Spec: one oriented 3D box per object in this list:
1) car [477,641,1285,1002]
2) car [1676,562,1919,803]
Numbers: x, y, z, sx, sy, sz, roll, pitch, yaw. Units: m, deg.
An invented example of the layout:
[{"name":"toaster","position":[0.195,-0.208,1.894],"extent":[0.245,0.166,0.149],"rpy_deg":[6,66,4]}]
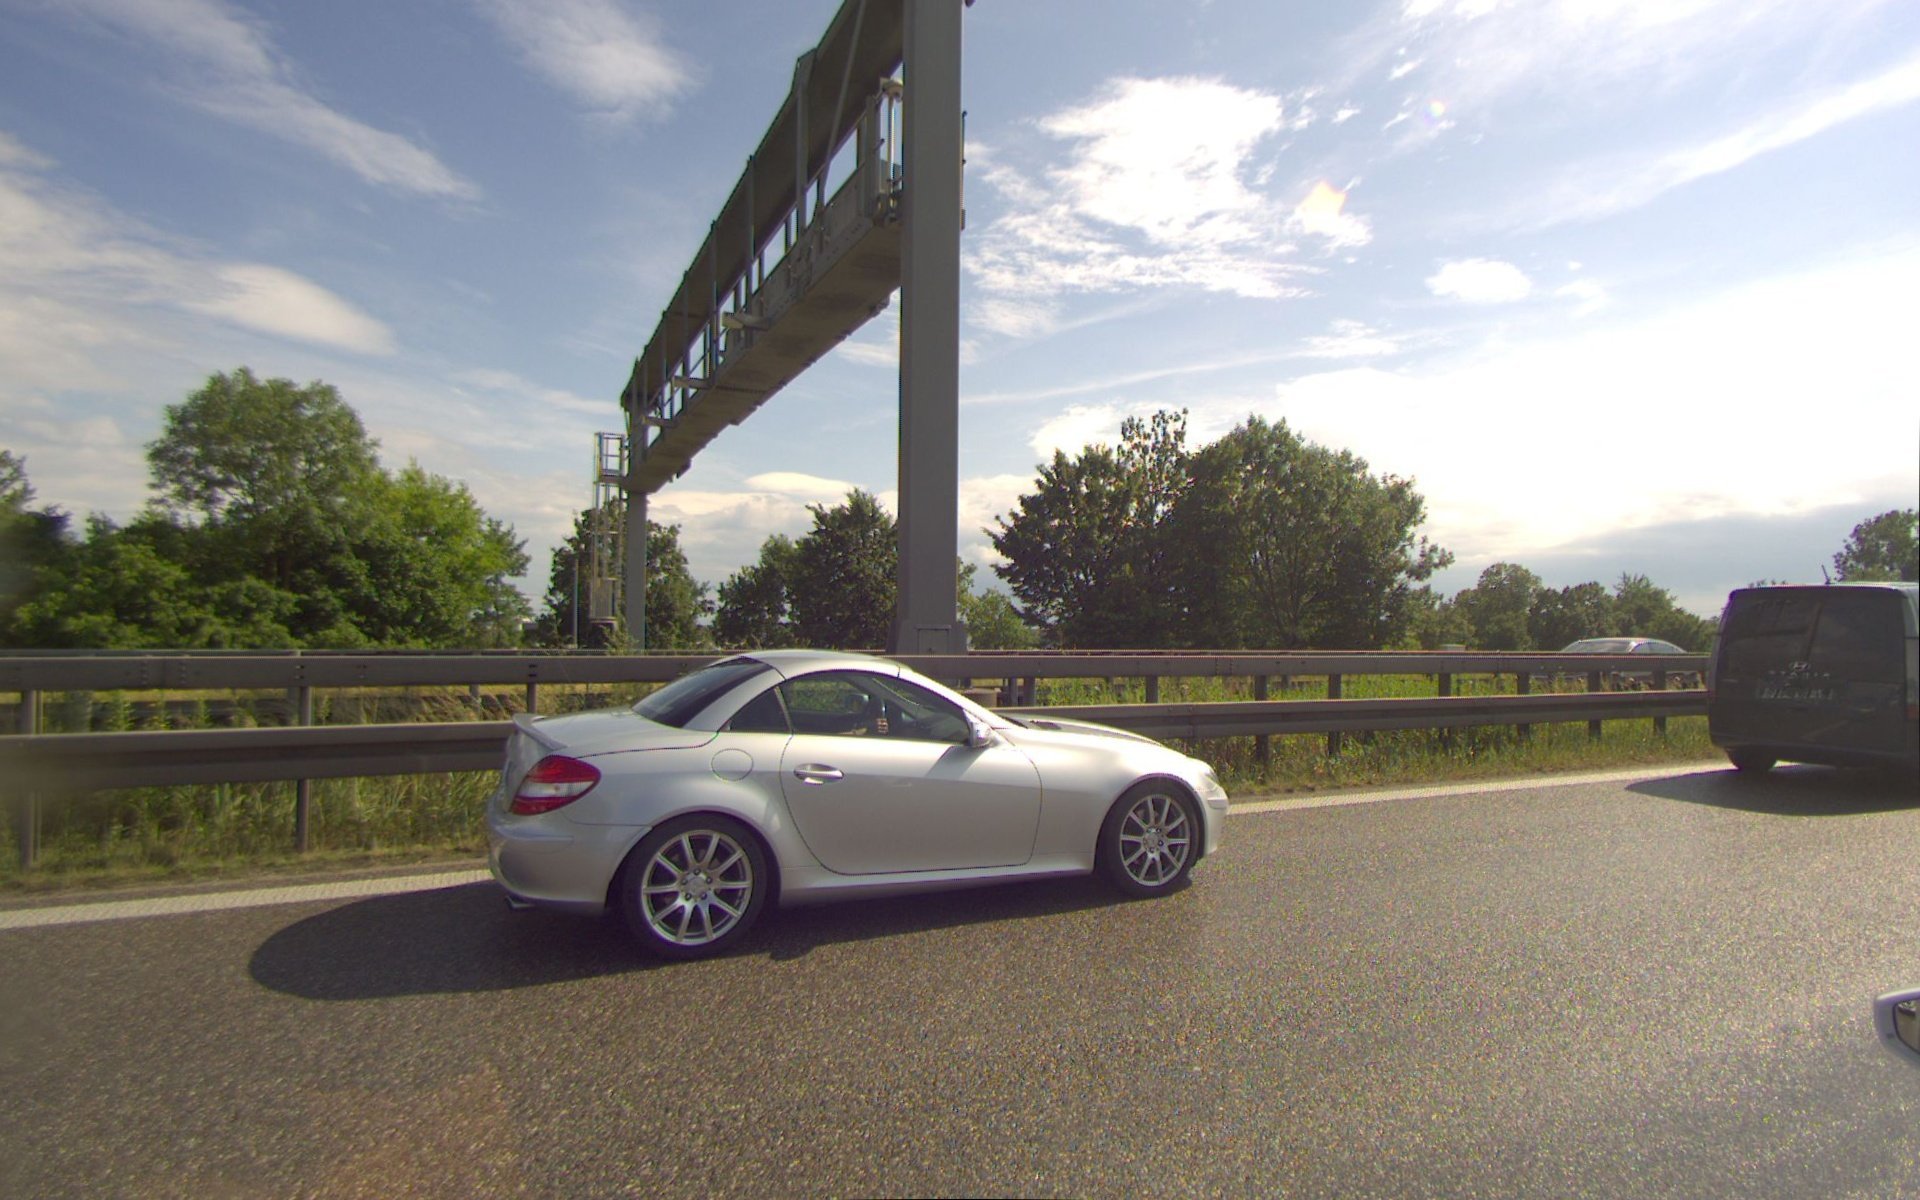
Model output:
[{"name":"car","position":[-0.370,0.903,5.425],"extent":[4.010,1.295,1.718],"rpy_deg":[1,-1,-27]},{"name":"car","position":[10.106,0.766,10.531],"extent":[5.199,2.040,1.987],"rpy_deg":[1,-1,-26]}]
